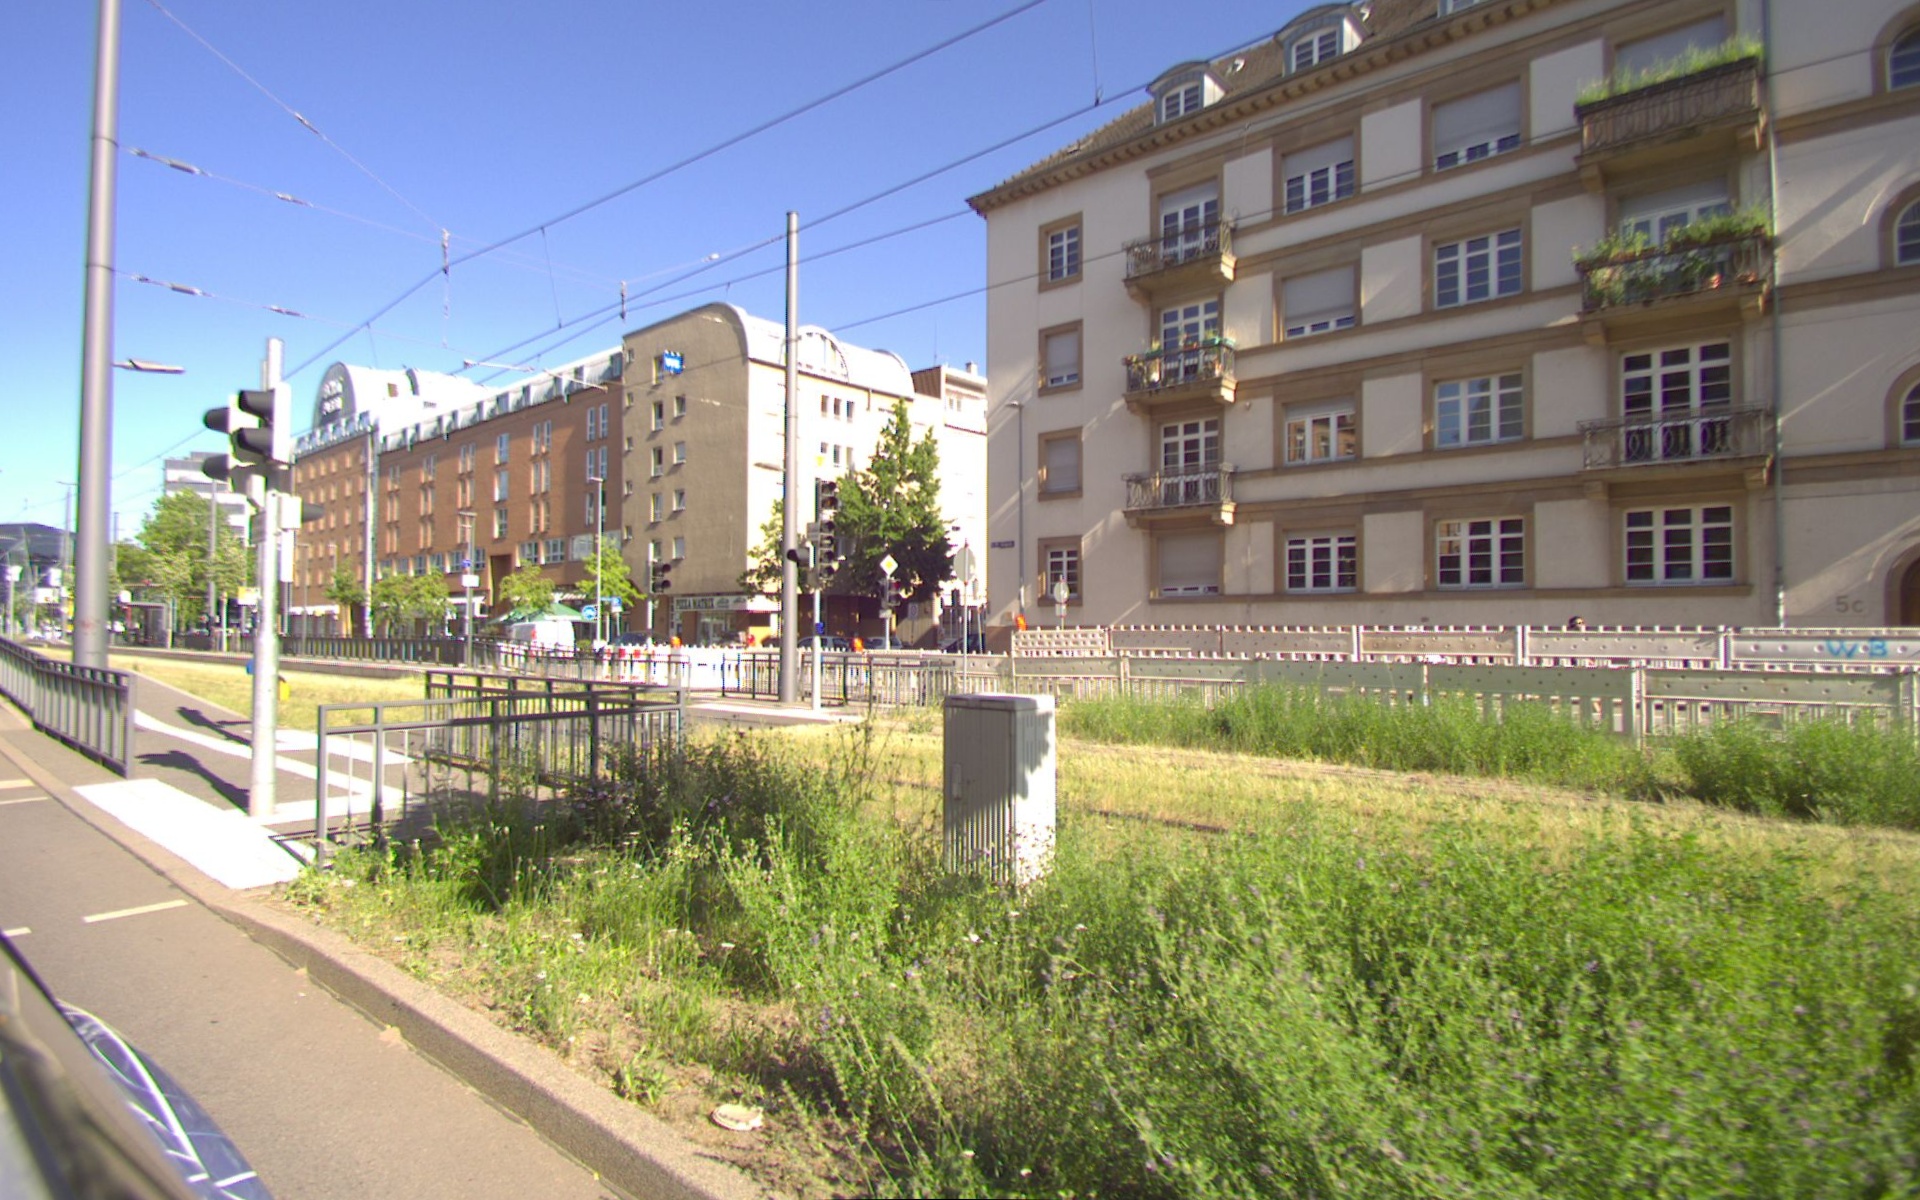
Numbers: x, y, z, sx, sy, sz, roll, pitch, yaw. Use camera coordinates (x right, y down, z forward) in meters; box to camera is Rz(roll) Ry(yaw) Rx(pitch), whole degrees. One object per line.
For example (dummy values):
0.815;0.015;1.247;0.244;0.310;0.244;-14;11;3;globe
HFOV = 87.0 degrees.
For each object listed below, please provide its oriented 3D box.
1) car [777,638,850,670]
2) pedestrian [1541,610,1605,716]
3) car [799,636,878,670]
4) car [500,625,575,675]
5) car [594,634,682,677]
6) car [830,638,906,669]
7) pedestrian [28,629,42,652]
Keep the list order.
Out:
-7.101;2.604;49.111;3.334;1.439;1.423;-1;-1;29;car
11.237;1.127;18.541;0.871;1.877;0.758;-1;-1;41;pedestrian
-6.166;2.654;51.132;3.955;1.564;1.457;-1;-1;33;car
-21.278;2.449;50.797;1.969;2.314;5.197;1;-1;-41;car
-13.616;2.299;42.737;3.996;1.652;1.677;-1;-1;40;car
-4.853;2.776;53.346;3.997;1.497;1.693;-1;-1;40;car
-77.336;3.381;84.632;0.810;1.903;0.769;2;-3;-44;pedestrian
